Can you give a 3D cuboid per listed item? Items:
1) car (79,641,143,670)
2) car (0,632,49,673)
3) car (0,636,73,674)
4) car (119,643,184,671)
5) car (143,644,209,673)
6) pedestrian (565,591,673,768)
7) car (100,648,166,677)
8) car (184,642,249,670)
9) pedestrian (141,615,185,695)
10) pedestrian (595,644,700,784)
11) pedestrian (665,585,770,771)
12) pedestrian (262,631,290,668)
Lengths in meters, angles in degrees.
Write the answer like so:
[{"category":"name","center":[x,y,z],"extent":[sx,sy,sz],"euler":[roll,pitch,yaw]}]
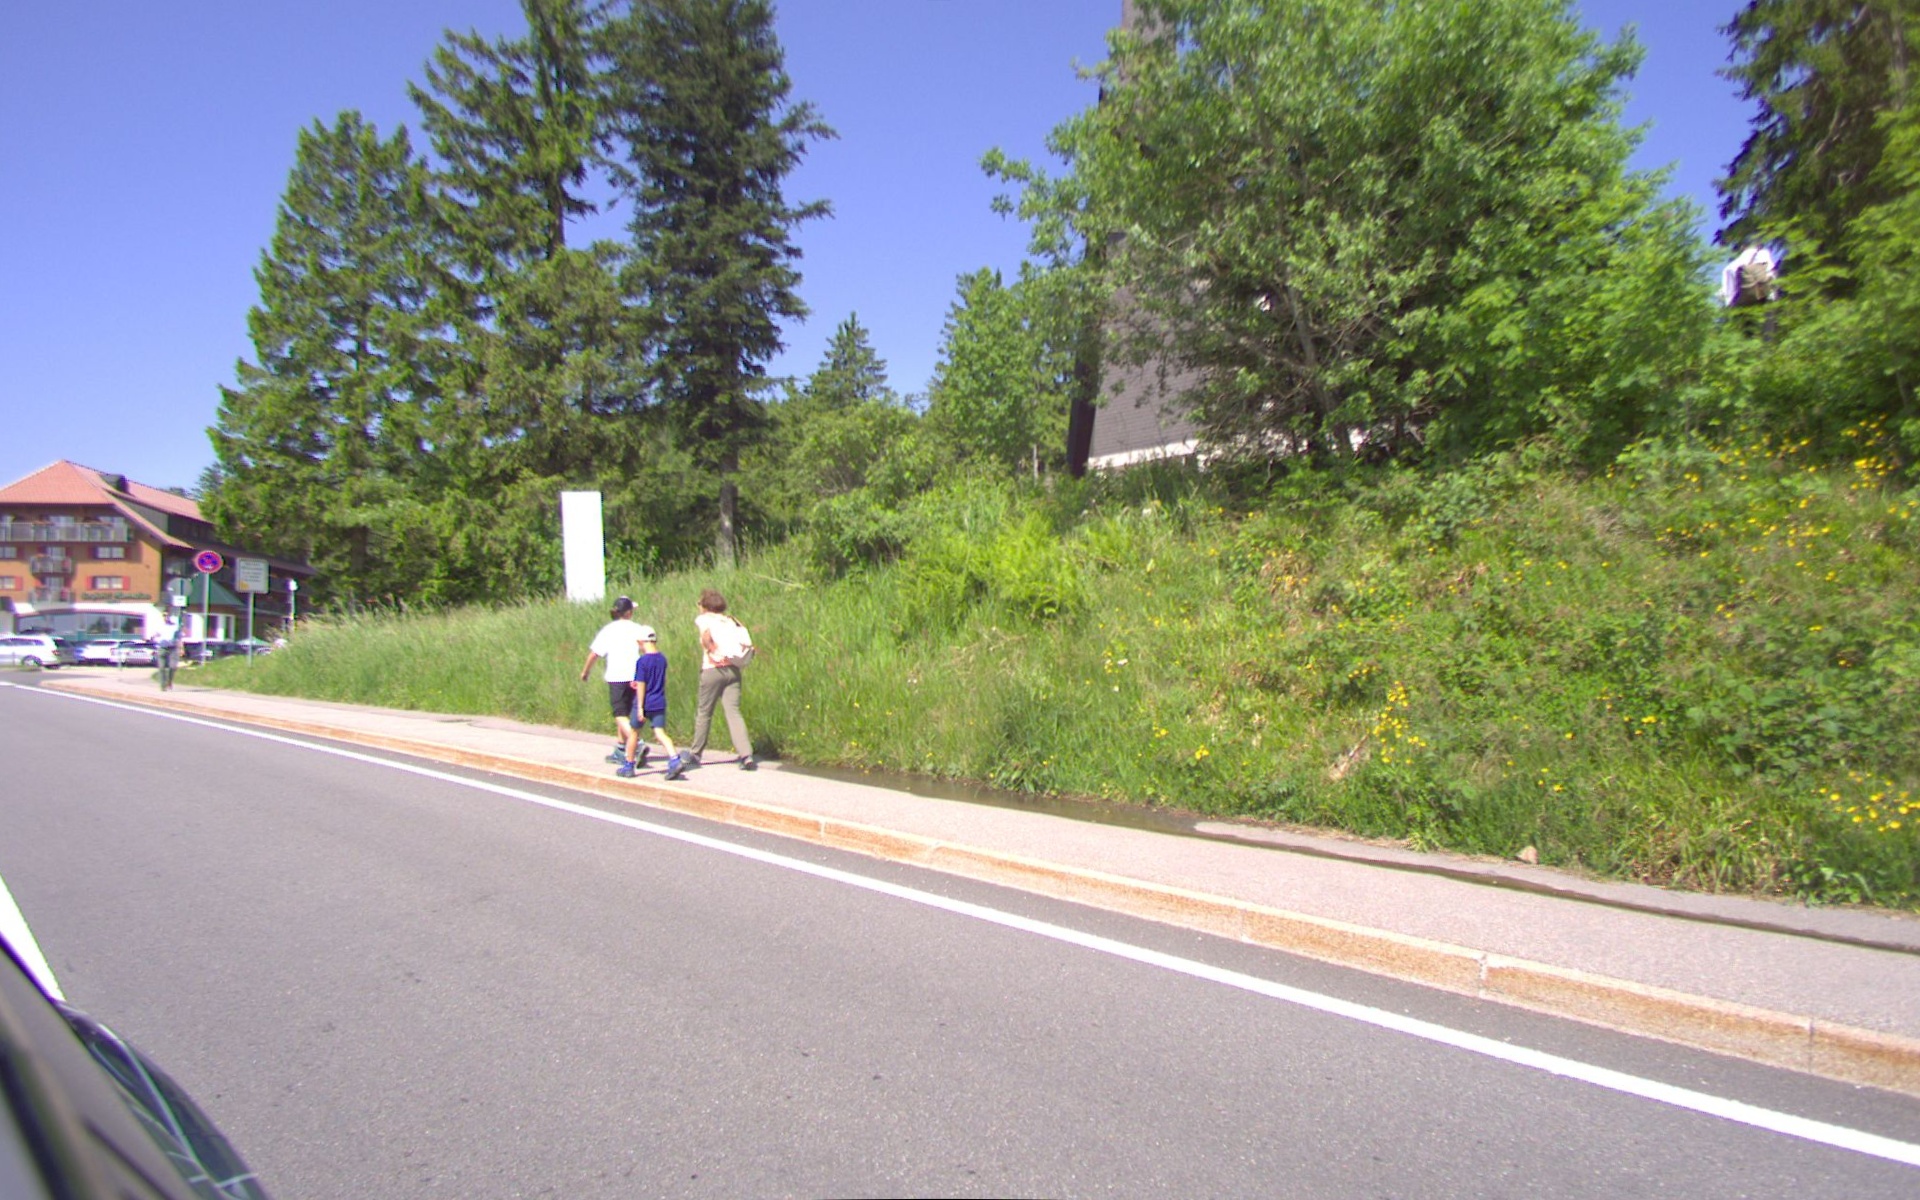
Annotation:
[{"category":"car","center":[-50.086,3.266,59.762],"extent":[1.686,1.564,3.143],"euler":[0,-1,-13]},{"category":"car","center":[-46.751,2.475,47.689],"extent":[5.271,1.884,2.006],"euler":[0,-2,-22]},{"category":"car","center":[-41.146,2.381,43.655],"extent":[3.896,1.600,1.795],"euler":[0,-2,-16]},{"category":"car","center":[-44.857,3.166,56.204],"extent":[1.613,1.445,3.325],"euler":[0,-3,-16]},{"category":"car","center":[-42.213,3.134,54.576],"extent":[1.689,1.445,3.325],"euler":[0,-2,-16]},{"category":"pedestrian","center":[-3.167,0.711,9.395],"extent":[0.879,1.549,0.574],"euler":[-2,-3,41]},{"category":"car","center":[-47.560,3.556,58.278],"extent":[1.702,1.476,3.531],"euler":[0,-1,-17]},{"category":"car","center":[-39.338,2.980,53.619],"extent":[1.684,1.406,3.325],"euler":[0,-3,-16]},{"category":"pedestrian","center":[-17.787,1.226,22.593],"extent":[0.685,1.754,0.574],"euler":[-2,-2,34]},{"category":"pedestrian","center":[-2.646,0.932,8.575],"extent":[0.745,1.110,0.562],"euler":[-2,-3,44]},{"category":"pedestrian","center":[-2.289,0.710,9.535],"extent":[0.894,1.655,0.569],"euler":[-2,-3,44]},{"category":"pedestrian","center":[-32.711,2.342,48.405],"extent":[0.898,1.754,0.638],"euler":[0,-2,-9]}]
